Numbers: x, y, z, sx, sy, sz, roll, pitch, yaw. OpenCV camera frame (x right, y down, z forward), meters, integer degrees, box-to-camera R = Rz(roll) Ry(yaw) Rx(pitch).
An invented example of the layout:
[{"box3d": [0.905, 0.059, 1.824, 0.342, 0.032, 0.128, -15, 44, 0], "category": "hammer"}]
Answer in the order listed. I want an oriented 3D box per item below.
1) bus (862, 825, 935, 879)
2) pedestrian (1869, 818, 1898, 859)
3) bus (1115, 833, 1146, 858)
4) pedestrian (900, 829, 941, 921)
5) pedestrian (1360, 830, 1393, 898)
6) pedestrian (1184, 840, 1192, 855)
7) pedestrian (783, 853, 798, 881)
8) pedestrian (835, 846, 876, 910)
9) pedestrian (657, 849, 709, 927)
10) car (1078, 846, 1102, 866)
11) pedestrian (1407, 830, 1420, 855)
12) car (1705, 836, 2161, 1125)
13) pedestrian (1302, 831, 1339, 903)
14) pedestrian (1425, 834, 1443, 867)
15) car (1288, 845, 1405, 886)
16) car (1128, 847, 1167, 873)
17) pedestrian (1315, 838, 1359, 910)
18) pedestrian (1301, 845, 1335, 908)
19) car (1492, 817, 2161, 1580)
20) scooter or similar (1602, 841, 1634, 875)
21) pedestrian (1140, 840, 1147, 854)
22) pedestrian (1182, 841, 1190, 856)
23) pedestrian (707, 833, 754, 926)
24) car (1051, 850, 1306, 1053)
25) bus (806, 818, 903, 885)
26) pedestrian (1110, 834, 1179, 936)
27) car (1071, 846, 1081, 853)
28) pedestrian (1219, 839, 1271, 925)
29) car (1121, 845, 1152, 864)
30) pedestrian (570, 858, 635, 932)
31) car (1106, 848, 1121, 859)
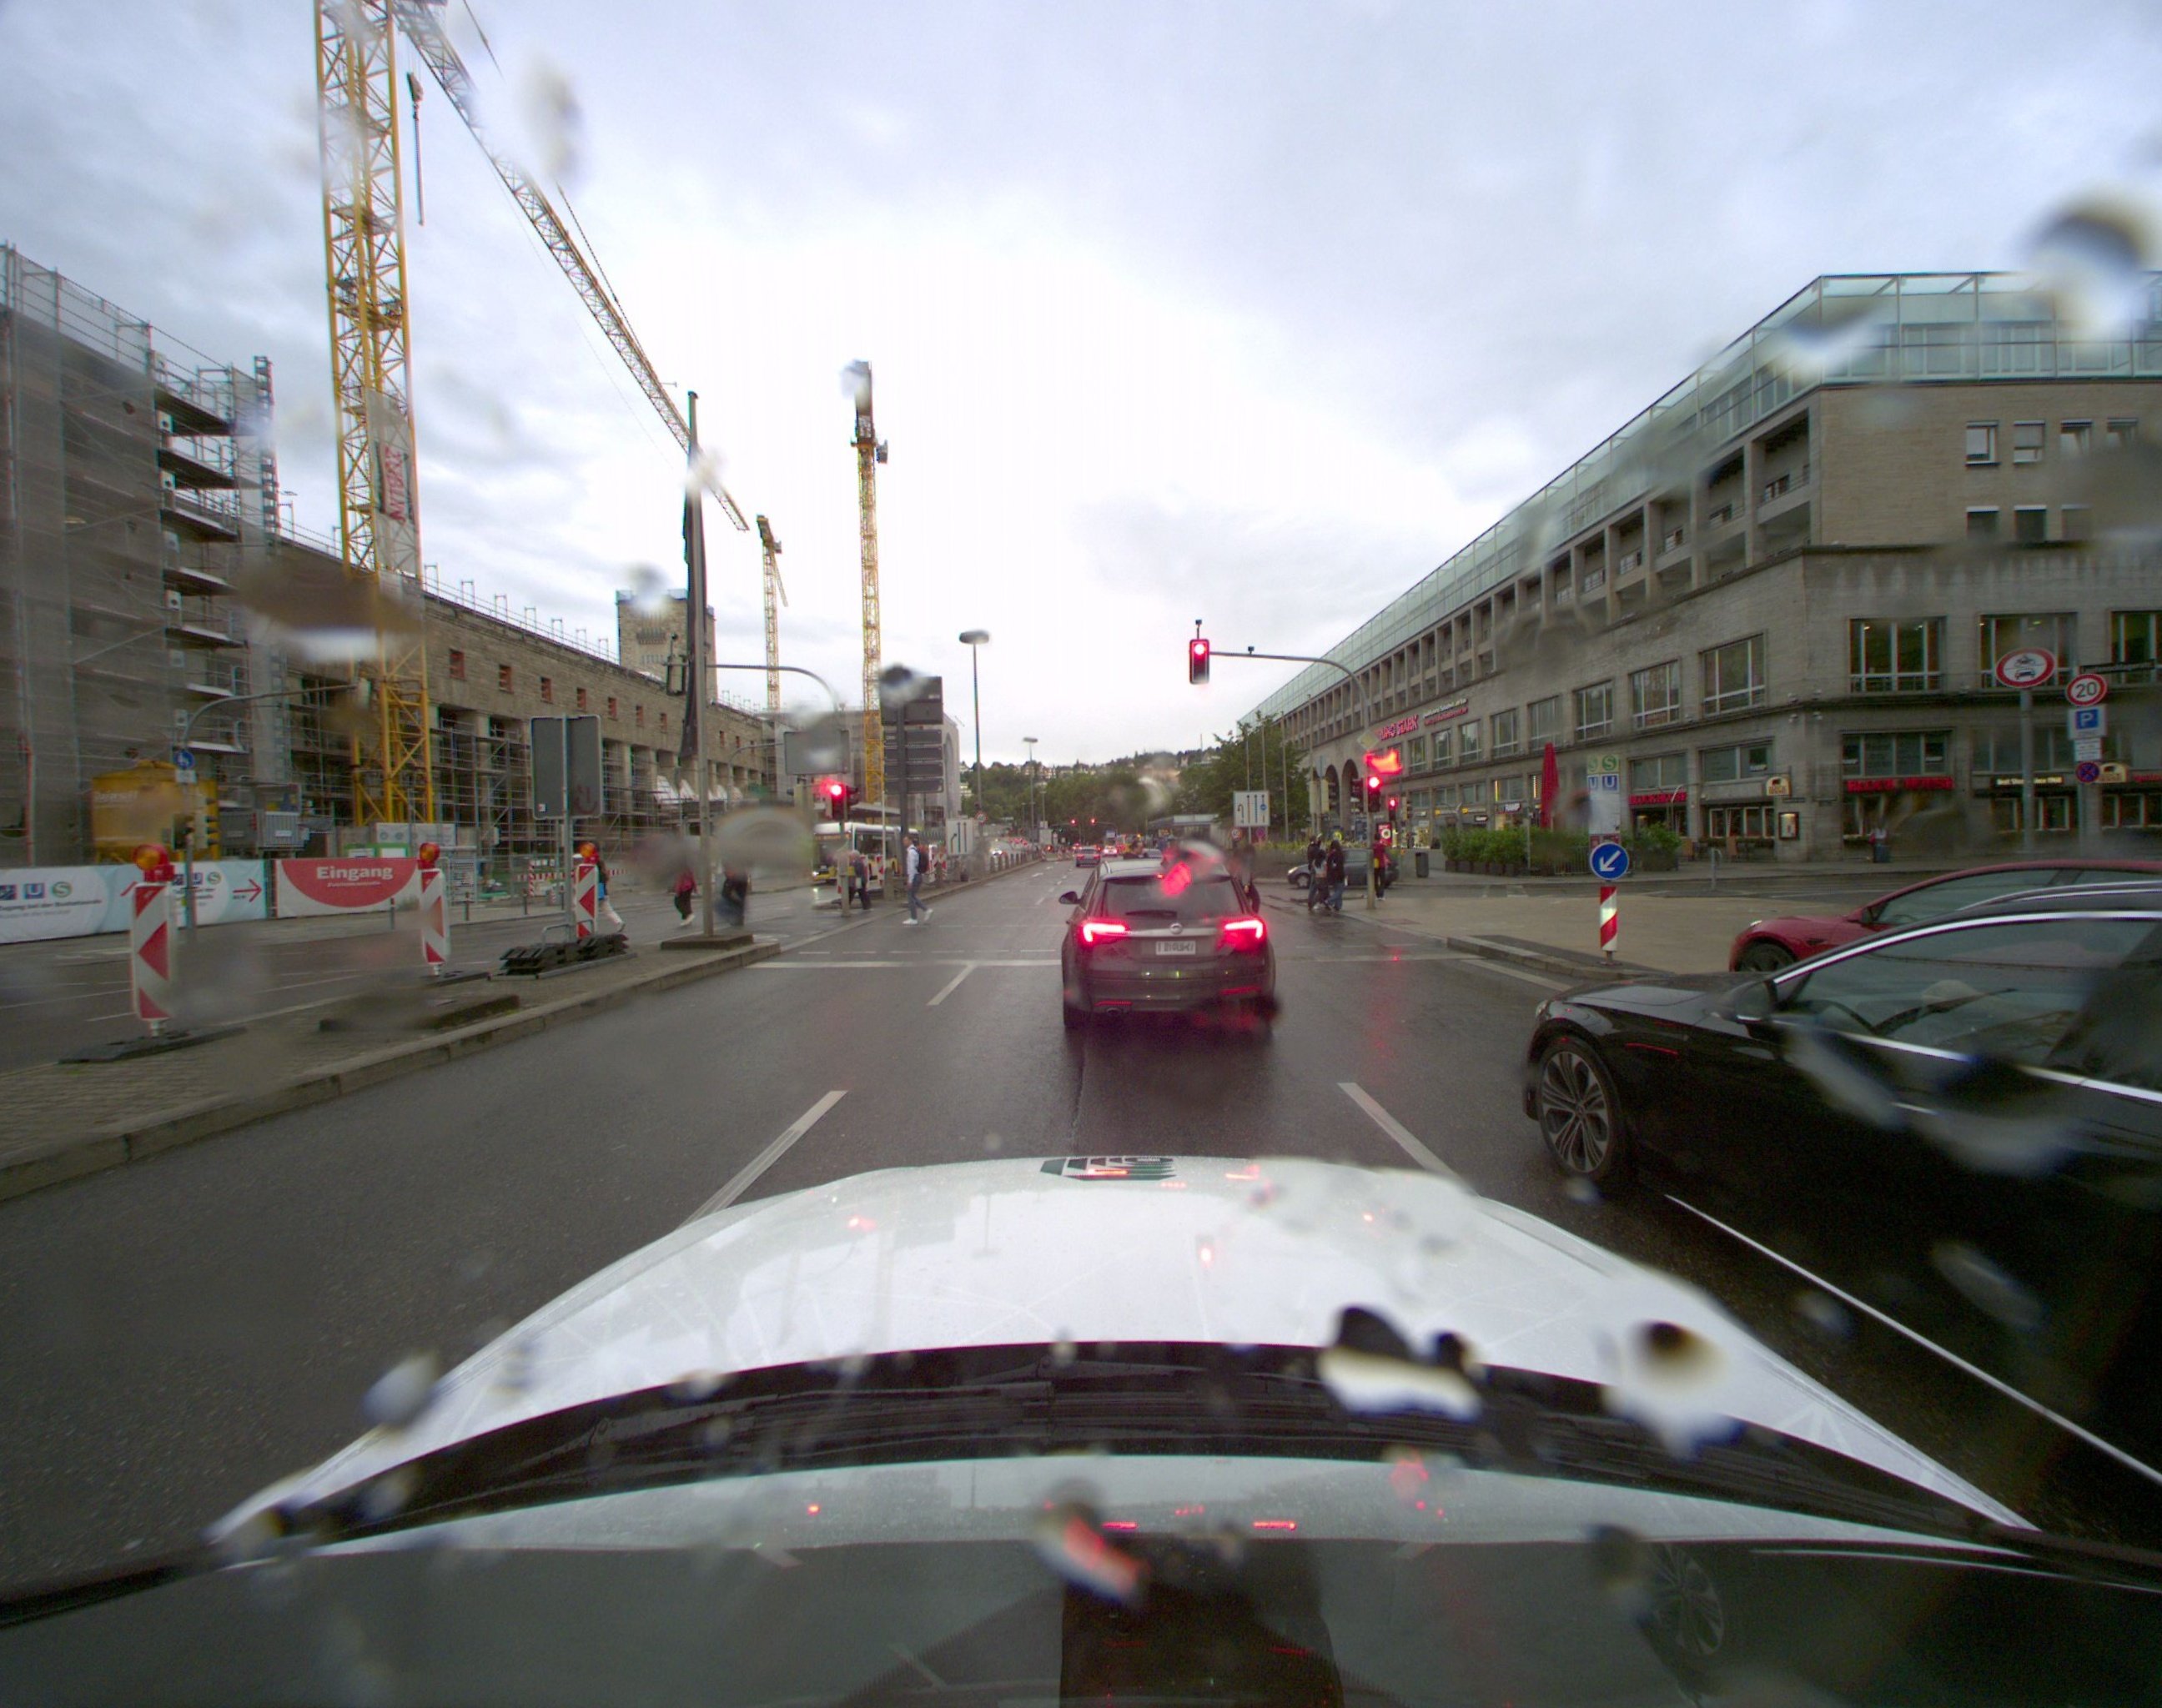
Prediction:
[{"box3d": [-13.053, -0.092, 59.288, 2.658, 3.602, 10.215, 0, 0, 2], "category": "bus"}, {"box3d": [30.558, -0.586, 31.030, 0.750, 1.512, 0.721, -1, -1, 43], "category": "pedestrian"}, {"box3d": [7.229, -1.229, 121.204, 4.158, 3.469, 14.660, 0, 0, 2], "category": "bus"}, {"box3d": [-3.371, 0.437, 17.133, 0.798, 1.890, 0.618, 0, -1, -7], "category": "pedestrian"}, {"box3d": [7.740, 0.256, 21.331, 0.563, 1.752, 0.684, -1, -1, 44], "category": "pedestrian"}, {"box3d": [12.401, -0.777, 94.245, 0.761, 1.690, 0.824, 0, -1, -3], "category": "pedestrian"}, {"box3d": [-19.755, 0.875, 55.388, 0.659, 1.855, 0.799, -2, 0, 1], "category": "pedestrian"}, {"box3d": [-5.630, 0.577, 20.329, 0.876, 1.561, 0.781, 0, -1, -24], "category": "pedestrian"}, {"box3d": [-9.160, 0.773, 18.763, 0.797, 1.717, 0.619, -3, 0, -2], "category": "pedestrian"}, {"box3d": [0.655, 0.163, 62.009, 1.747, 1.398, 4.538, 0, 0, 0], "category": "car"}, {"box3d": [26.819, -0.950, 65.712, 0.760, 2.014, 0.825, 0, -1, 1], "category": "pedestrian"}, {"box3d": [6.506, 0.648, 5.065, 1.868, 1.486, 4.527, 0, 0, 1], "category": "car"}, {"box3d": [5.782, 0.307, 19.659, 0.753, 1.717, 0.466, 0, -1, -2], "category": "pedestrian"}, {"box3d": [21.334, -0.200, 49.261, 0.756, 2.014, 0.830, -1, -1, 43], "category": "pedestrian"}, {"box3d": [9.485, 0.394, 29.116, 3.619, 1.398, 1.863, -1, 0, 32], "category": "car"}, {"box3d": [3.714, 0.345, 45.945, 1.748, 1.398, 4.647, 0, 0, -1], "category": "car"}, {"box3d": [5.835, 0.443, 18.569, 0.797, 1.608, 0.619, 0, -1, -2], "category": "pedestrian"}, {"box3d": [5.556, 0.524, 19.076, 0.677, 1.474, 0.366, 0, -1, -3], "category": "pedestrian"}, {"box3d": [3.029, 0.675, 2.017, 1.787, 1.501, 4.630, 0, 0, 1], "category": "car"}, {"box3d": [19.380, 0.135, 29.388, 0.290, 1.189, 1.014, 0, 0, -17], "category": "scooter or similar"}, {"box3d": [10.902, -1.141, 142.488, 1.194, 2.435, 1.229, 0, -1, 3], "category": "pedestrian"}, {"box3d": [12.311, -0.616, 95.516, 0.761, 1.690, 0.824, 0, -1, -3], "category": "pedestrian"}, {"box3d": [-7.069, 0.501, 16.448, 0.576, 1.836, 0.820, 0, -1, 2], "category": "pedestrian"}, {"box3d": [0.767, 0.728, 8.005, 1.868, 1.486, 4.001, 0, 0, 1], "category": "car"}, {"box3d": [-13.375, -0.132, 49.103, 2.658, 3.602, 10.243, 0, 0, 2], "category": "bus"}, {"box3d": [1.138, 0.556, 14.797, 1.093, 1.751, 0.653, -3, 0, -1], "category": "pedestrian"}, {"box3d": [-0.897, -0.813, 150.588, 1.752, 1.398, 3.565, 0, 0, 2], "category": "car"}, {"box3d": [3.170, 0.528, 15.797, 0.791, 1.626, 0.899, 0, -1, -2], "category": "pedestrian"}, {"box3d": [4.209, 0.037, 62.161, 1.749, 1.398, 4.396, 0, 0, -4], "category": "car"}, {"box3d": [-10.499, 0.877, 17.893, 0.912, 1.563, 0.899, 0, -1, -2], "category": "pedestrian"}, {"box3d": [4.198, -0.033, 105.477, 1.839, 1.398, 3.565, 0, 0, 2], "category": "car"}]
